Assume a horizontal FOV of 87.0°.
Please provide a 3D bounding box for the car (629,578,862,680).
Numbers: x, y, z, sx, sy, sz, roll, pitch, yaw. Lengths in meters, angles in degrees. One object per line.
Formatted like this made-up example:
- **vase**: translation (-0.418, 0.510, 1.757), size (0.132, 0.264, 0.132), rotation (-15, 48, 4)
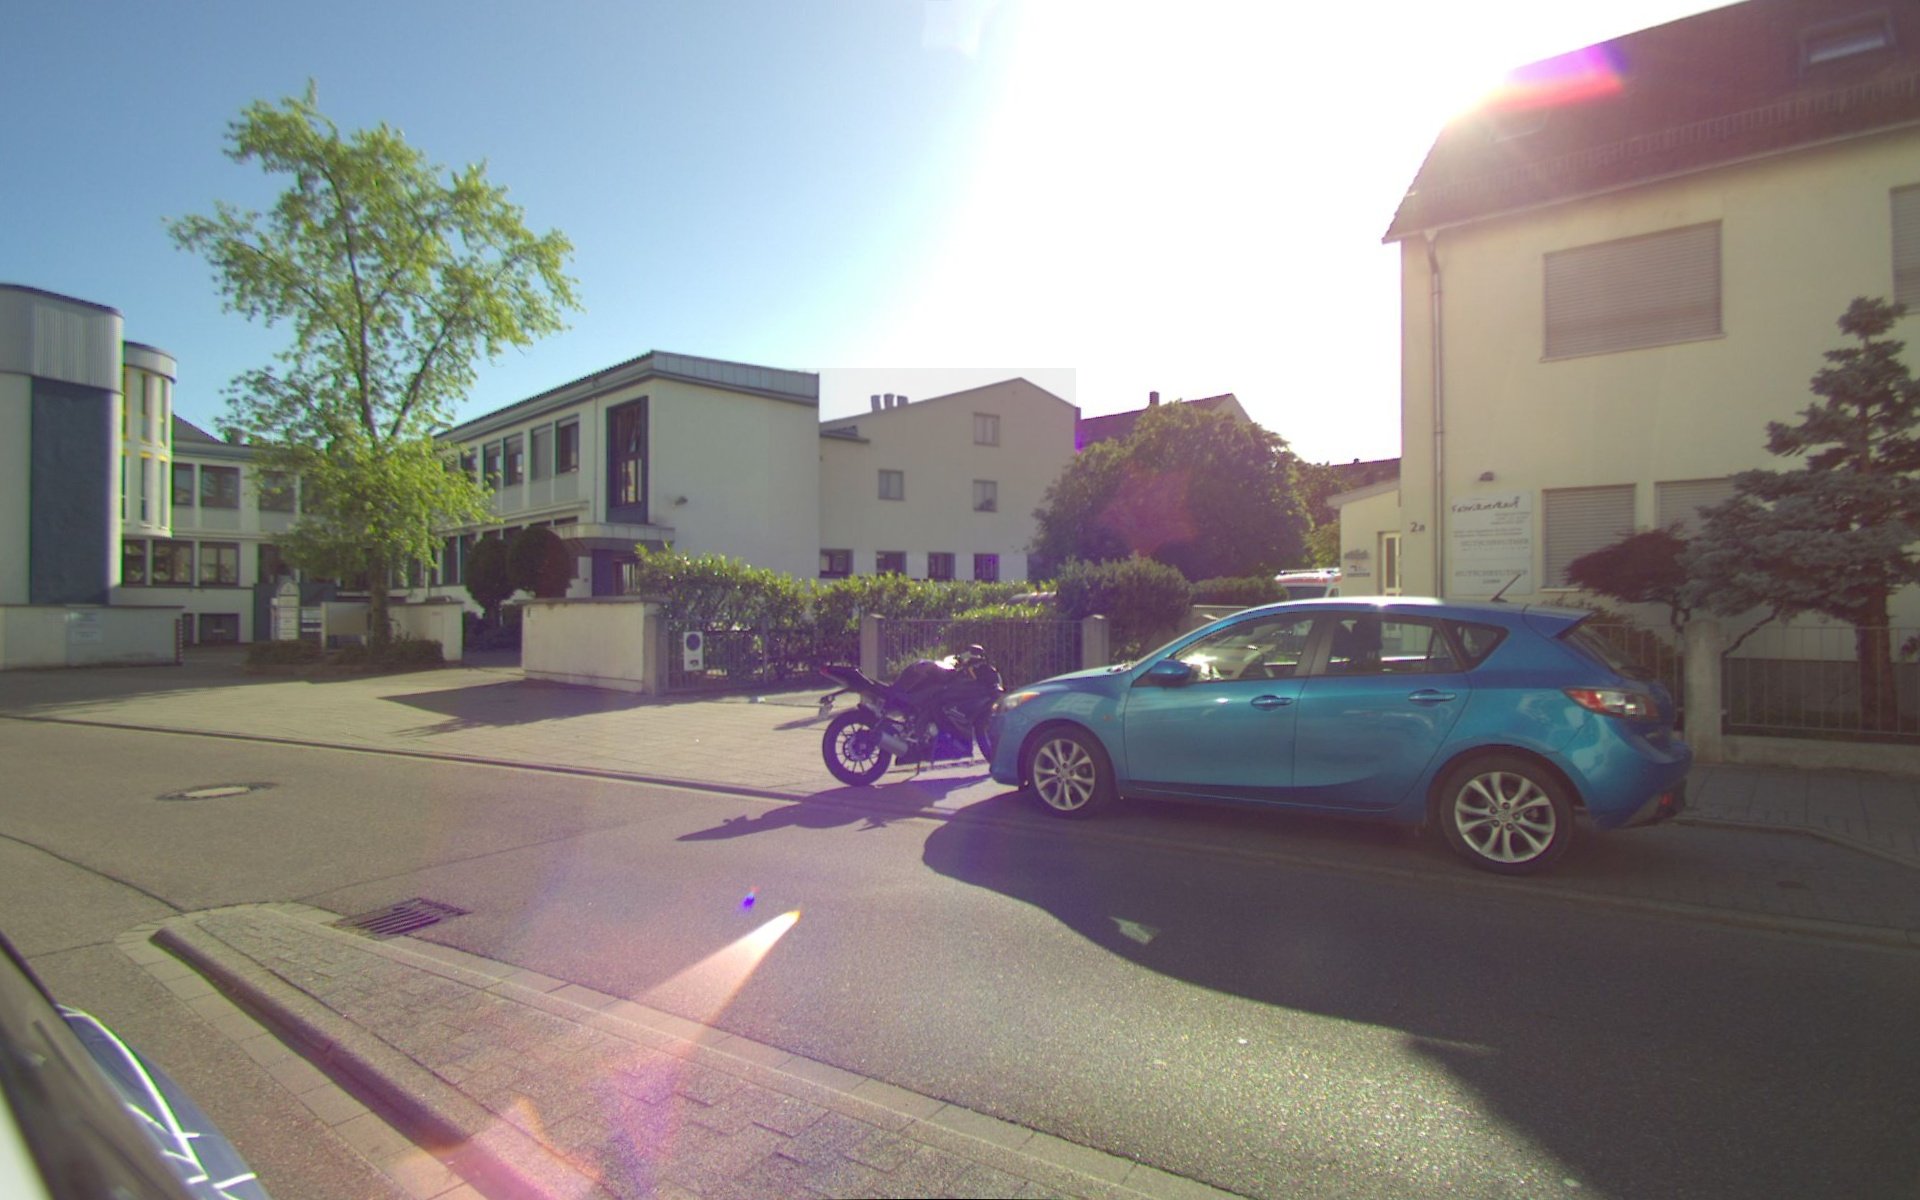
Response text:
- **car**: translation (-4.009, 0.543, 19.372), size (2.000, 1.729, 3.944), rotation (-1, -2, 42)

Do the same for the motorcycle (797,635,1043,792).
- **motorcycle**: translation (-0.308, 0.878, 8.349), size (1.930, 1.103, 0.592), rotation (-1, -1, -27)

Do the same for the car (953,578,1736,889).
- **car**: translation (2.295, 0.647, 6.735), size (4.403, 1.445, 1.864), rotation (-1, 0, 34)

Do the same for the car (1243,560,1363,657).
- **car**: translation (9.527, 0.237, 27.797), size (1.993, 2.402, 5.369), rotation (-1, -1, 31)
